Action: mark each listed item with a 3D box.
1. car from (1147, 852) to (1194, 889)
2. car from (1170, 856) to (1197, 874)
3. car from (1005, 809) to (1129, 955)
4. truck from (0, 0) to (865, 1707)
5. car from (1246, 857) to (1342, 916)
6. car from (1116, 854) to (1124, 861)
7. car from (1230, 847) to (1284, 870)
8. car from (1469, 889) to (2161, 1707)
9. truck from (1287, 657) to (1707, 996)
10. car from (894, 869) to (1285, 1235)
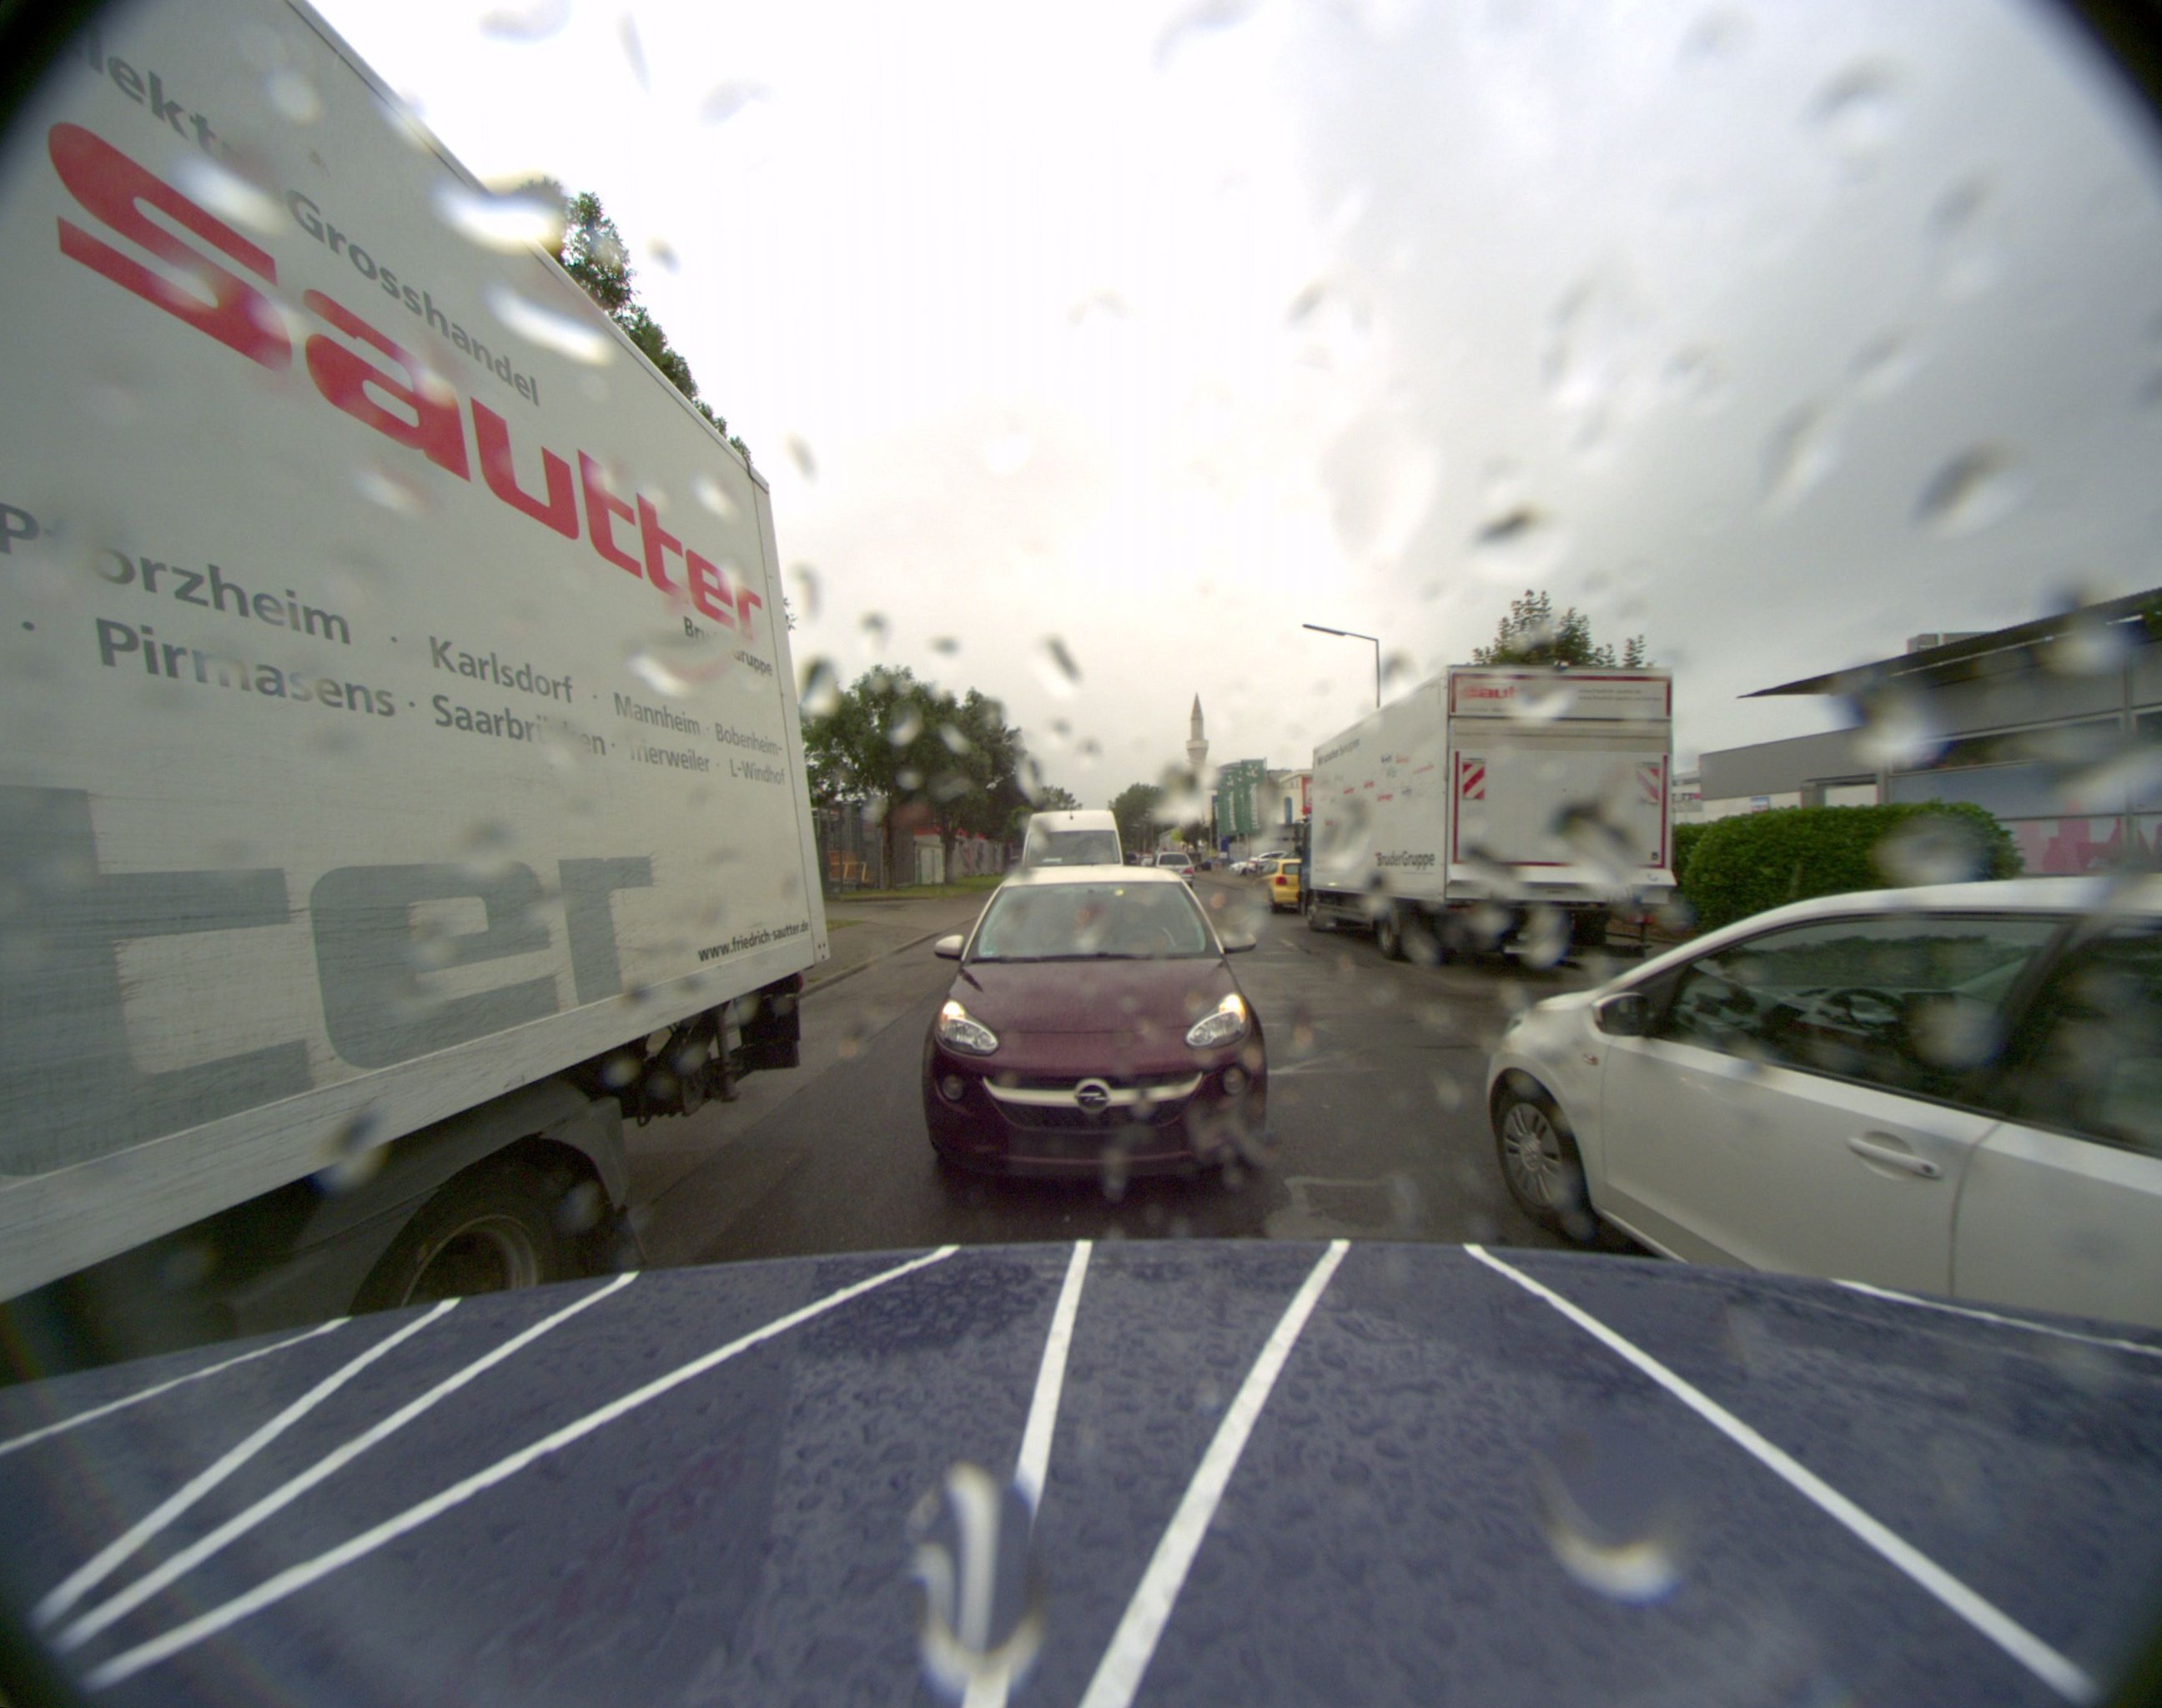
[{"bbox_3d":[4.005,0.705,34.404,1.691,1.588,3.611,-1,0,1],"label":"car"},{"bbox_3d":[7.802,0.831,58.073,1.579,1.333,3.611,-1,0,1],"label":"car"},{"bbox_3d":[-0.231,0.484,15.735,2.085,2.466,5.346,-1,0,0],"label":"car"},{"bbox_3d":[-2.861,0.007,0.345,2.678,3.670,8.010,-4,0,2],"label":"truck"},{"bbox_3d":[5.841,0.840,21.231,1.691,1.457,3.513,-1,0,1],"label":"car"},{"bbox_3d":[8.436,0.732,164.576,1.579,1.333,3.611,-1,0,1],"label":"car"},{"bbox_3d":[13.052,0.352,56.554,3.609,1.588,1.692,-1,0,-1],"label":"car"},{"bbox_3d":[2.563,0.876,1.709,1.615,1.430,3.407,0,0,0],"label":"car"},{"bbox_3d":[5.703,-0.292,12.435,2.888,3.724,7.869,-1,0,3],"label":"truck"},{"bbox_3d":[0.085,0.904,5.097,1.637,1.446,3.578,-3,0,2],"label":"car"}]
